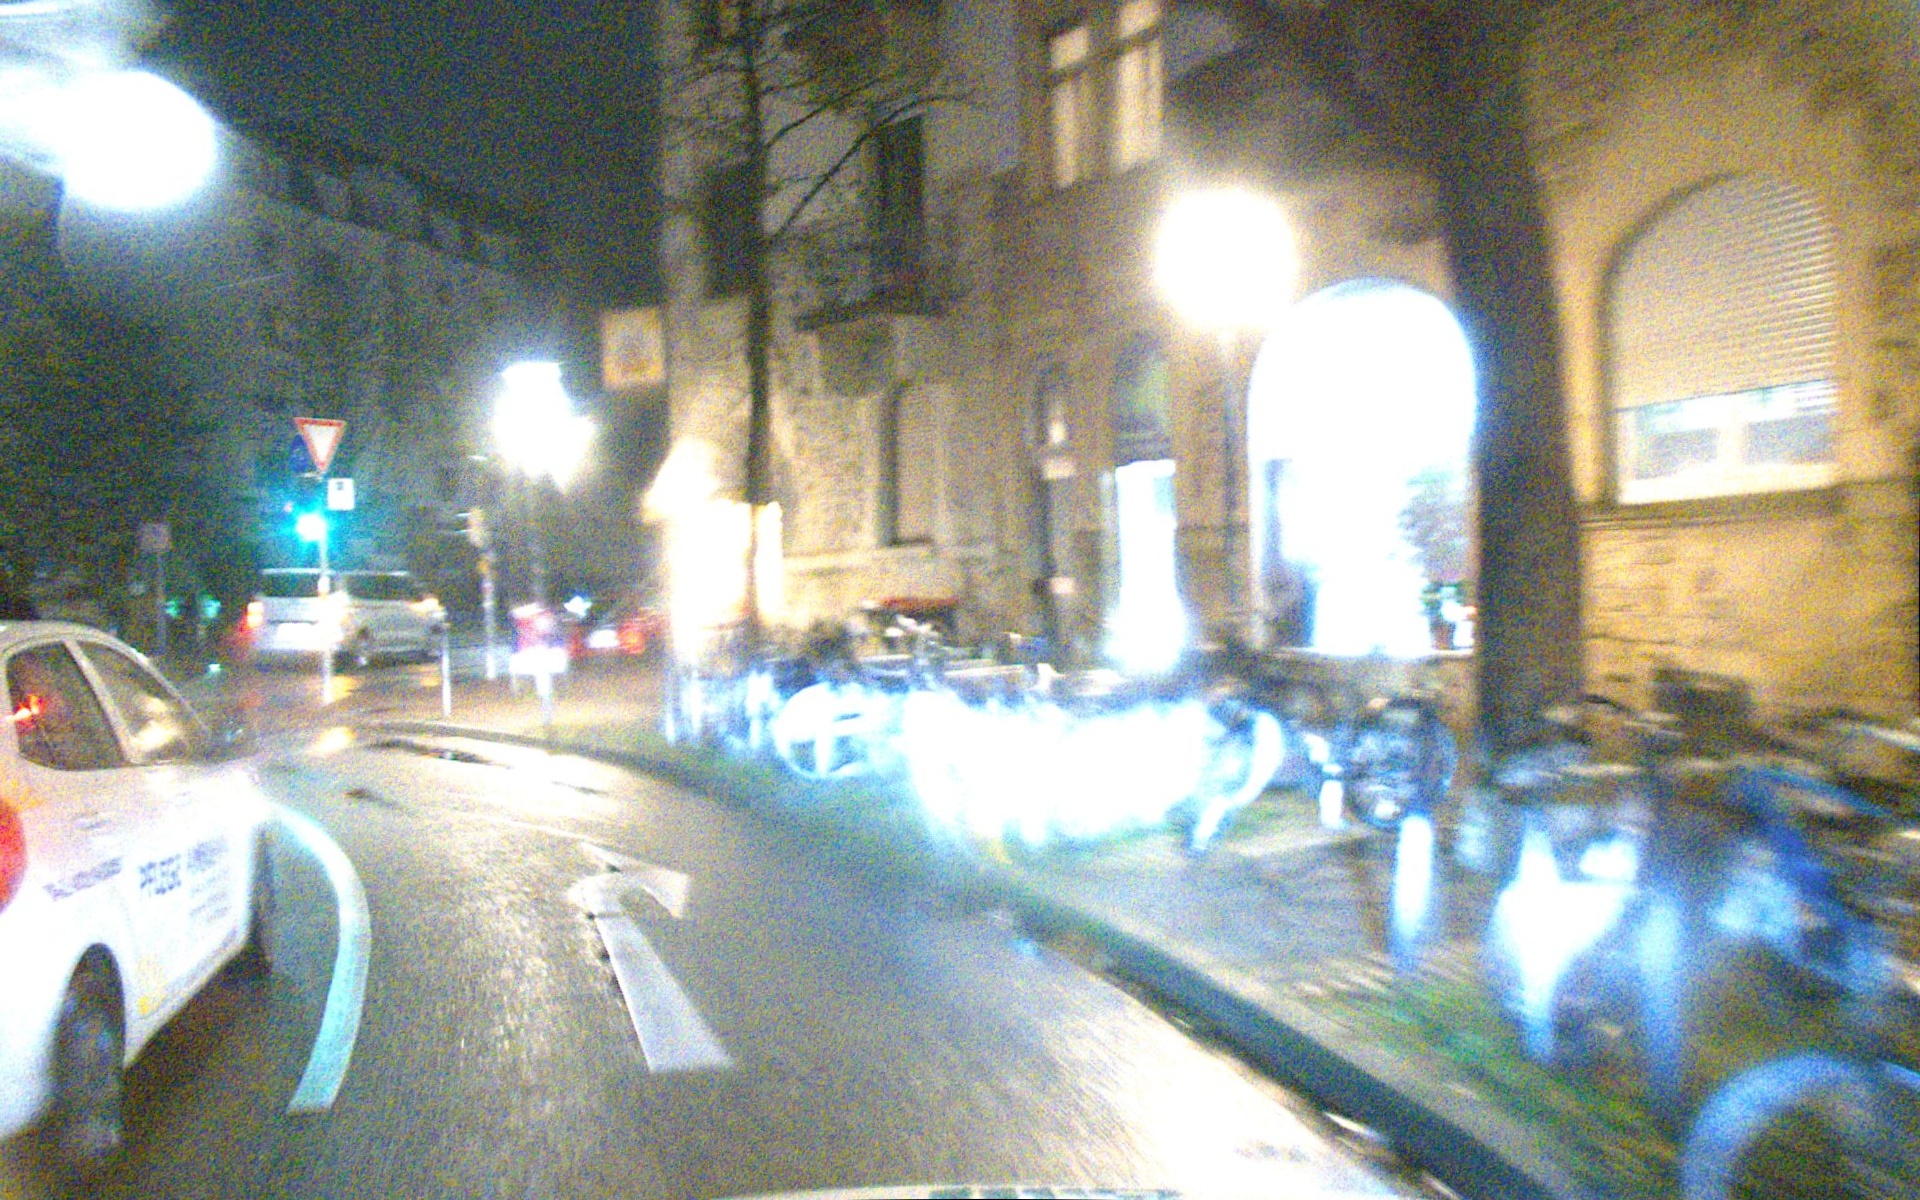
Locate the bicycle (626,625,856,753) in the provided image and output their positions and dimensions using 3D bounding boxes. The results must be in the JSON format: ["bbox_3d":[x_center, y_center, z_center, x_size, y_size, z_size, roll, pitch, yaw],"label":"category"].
[{"bbox_3d":[-1.969,0.778,14.973,1.947,1.024,0.636,-2,0,-29],"label":"bicycle"}]

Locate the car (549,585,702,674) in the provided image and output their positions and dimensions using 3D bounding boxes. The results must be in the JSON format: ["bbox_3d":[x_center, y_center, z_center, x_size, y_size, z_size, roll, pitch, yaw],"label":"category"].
[{"bbox_3d":[-6.829,0.567,34.116,1.612,1.551,3.584,-5,0,14],"label":"car"}]

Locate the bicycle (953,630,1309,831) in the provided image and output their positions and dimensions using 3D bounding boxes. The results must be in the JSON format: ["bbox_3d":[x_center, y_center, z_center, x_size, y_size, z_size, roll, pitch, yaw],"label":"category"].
[{"bbox_3d":[0.945,0.725,9.416,1.928,1.024,0.642,-2,0,0],"label":"bicycle"}]

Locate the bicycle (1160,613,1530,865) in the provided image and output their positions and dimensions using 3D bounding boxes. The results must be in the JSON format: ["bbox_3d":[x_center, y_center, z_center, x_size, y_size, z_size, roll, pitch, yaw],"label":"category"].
[{"bbox_3d":[1.980,0.654,8.450,1.799,1.106,0.714,-2,0,-28],"label":"bicycle"}]

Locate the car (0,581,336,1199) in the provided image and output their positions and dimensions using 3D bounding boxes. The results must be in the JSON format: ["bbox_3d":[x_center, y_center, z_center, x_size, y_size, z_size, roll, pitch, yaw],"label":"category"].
[{"bbox_3d":[-3.244,0.744,5.218,1.886,1.542,3.585,-2,1,-14],"label":"car"}]

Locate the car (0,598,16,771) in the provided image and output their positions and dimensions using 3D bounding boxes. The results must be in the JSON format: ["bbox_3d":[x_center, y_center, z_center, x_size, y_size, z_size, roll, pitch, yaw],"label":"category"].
[{"bbox_3d":[-11.469,0.876,18.083,1.733,1.770,3.754,0,-1,-34],"label":"car"}]

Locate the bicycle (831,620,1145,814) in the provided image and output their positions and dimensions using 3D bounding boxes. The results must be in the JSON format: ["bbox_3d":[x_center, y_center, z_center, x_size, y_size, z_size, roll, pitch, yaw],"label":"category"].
[{"bbox_3d":[0.201,0.712,10.653,1.947,1.083,0.636,-2,0,-29],"label":"bicycle"}]

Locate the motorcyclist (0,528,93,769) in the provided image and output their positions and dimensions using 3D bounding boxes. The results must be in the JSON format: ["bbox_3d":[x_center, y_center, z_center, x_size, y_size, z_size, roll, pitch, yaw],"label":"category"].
[{"bbox_3d":[-6.963,0.348,12.291,0.784,1.724,0.808,0,-1,-39],"label":"motorcyclist"}]

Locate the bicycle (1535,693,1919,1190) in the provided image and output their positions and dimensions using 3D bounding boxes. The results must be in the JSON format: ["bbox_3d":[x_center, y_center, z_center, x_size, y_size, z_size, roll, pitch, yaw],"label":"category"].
[{"bbox_3d":[2.505,0.777,4.071,1.928,1.052,0.642,-2,0,0],"label":"bicycle"}]

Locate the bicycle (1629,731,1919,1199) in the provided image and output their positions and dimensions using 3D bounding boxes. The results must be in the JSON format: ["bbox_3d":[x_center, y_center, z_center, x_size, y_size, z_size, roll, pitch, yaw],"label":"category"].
[{"bbox_3d":[2.451,0.791,3.324,1.928,1.024,0.642,-2,0,0],"label":"bicycle"}]

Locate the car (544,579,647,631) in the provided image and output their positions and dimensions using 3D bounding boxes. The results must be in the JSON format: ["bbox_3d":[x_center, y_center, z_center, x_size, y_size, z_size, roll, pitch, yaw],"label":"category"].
[{"bbox_3d":[-14.776,0.153,67.355,1.951,1.857,5.314,2,2,14],"label":"car"}]

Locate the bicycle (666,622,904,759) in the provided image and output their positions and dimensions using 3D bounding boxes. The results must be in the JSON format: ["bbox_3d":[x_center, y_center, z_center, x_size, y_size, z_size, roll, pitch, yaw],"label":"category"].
[{"bbox_3d":[-1.511,0.755,14.392,1.947,1.053,0.636,-2,0,-29],"label":"bicycle"}]

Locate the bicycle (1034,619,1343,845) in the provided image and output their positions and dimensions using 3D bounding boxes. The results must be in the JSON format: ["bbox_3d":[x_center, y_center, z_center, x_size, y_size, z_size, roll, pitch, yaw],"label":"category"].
[{"bbox_3d":[1.329,0.685,9.319,1.960,1.072,0.632,-2,0,-44],"label":"bicycle"}]

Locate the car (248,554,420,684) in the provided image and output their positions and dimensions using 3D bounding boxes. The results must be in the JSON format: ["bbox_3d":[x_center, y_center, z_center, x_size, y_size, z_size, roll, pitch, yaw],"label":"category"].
[{"bbox_3d":[-12.944,0.332,34.577,2.175,2.484,5.375,-1,1,-8],"label":"car"}]

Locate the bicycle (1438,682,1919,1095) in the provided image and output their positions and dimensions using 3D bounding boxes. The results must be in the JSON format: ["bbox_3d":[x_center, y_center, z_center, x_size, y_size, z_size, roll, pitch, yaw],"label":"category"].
[{"bbox_3d":[2.448,0.786,4.774,1.928,1.024,0.642,-2,0,0],"label":"bicycle"}]

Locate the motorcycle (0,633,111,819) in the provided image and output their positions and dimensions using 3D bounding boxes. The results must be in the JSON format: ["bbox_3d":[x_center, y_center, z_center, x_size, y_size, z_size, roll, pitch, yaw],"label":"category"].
[{"bbox_3d":[-7.004,0.879,12.319,0.784,1.234,2.218,0,-1,-39],"label":"motorcycle"}]

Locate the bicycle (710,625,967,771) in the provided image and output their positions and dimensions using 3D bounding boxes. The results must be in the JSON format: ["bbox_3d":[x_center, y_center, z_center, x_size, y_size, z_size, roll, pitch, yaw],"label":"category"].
[{"bbox_3d":[-0.958,0.748,13.213,1.947,1.024,0.636,-2,0,-29],"label":"bicycle"}]

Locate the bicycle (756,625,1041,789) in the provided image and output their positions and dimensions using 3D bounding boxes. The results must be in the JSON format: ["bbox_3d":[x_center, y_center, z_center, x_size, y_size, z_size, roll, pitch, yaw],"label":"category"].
[{"bbox_3d":[-0.424,0.730,11.855,1.947,1.024,0.636,-2,0,-29],"label":"bicycle"}]
